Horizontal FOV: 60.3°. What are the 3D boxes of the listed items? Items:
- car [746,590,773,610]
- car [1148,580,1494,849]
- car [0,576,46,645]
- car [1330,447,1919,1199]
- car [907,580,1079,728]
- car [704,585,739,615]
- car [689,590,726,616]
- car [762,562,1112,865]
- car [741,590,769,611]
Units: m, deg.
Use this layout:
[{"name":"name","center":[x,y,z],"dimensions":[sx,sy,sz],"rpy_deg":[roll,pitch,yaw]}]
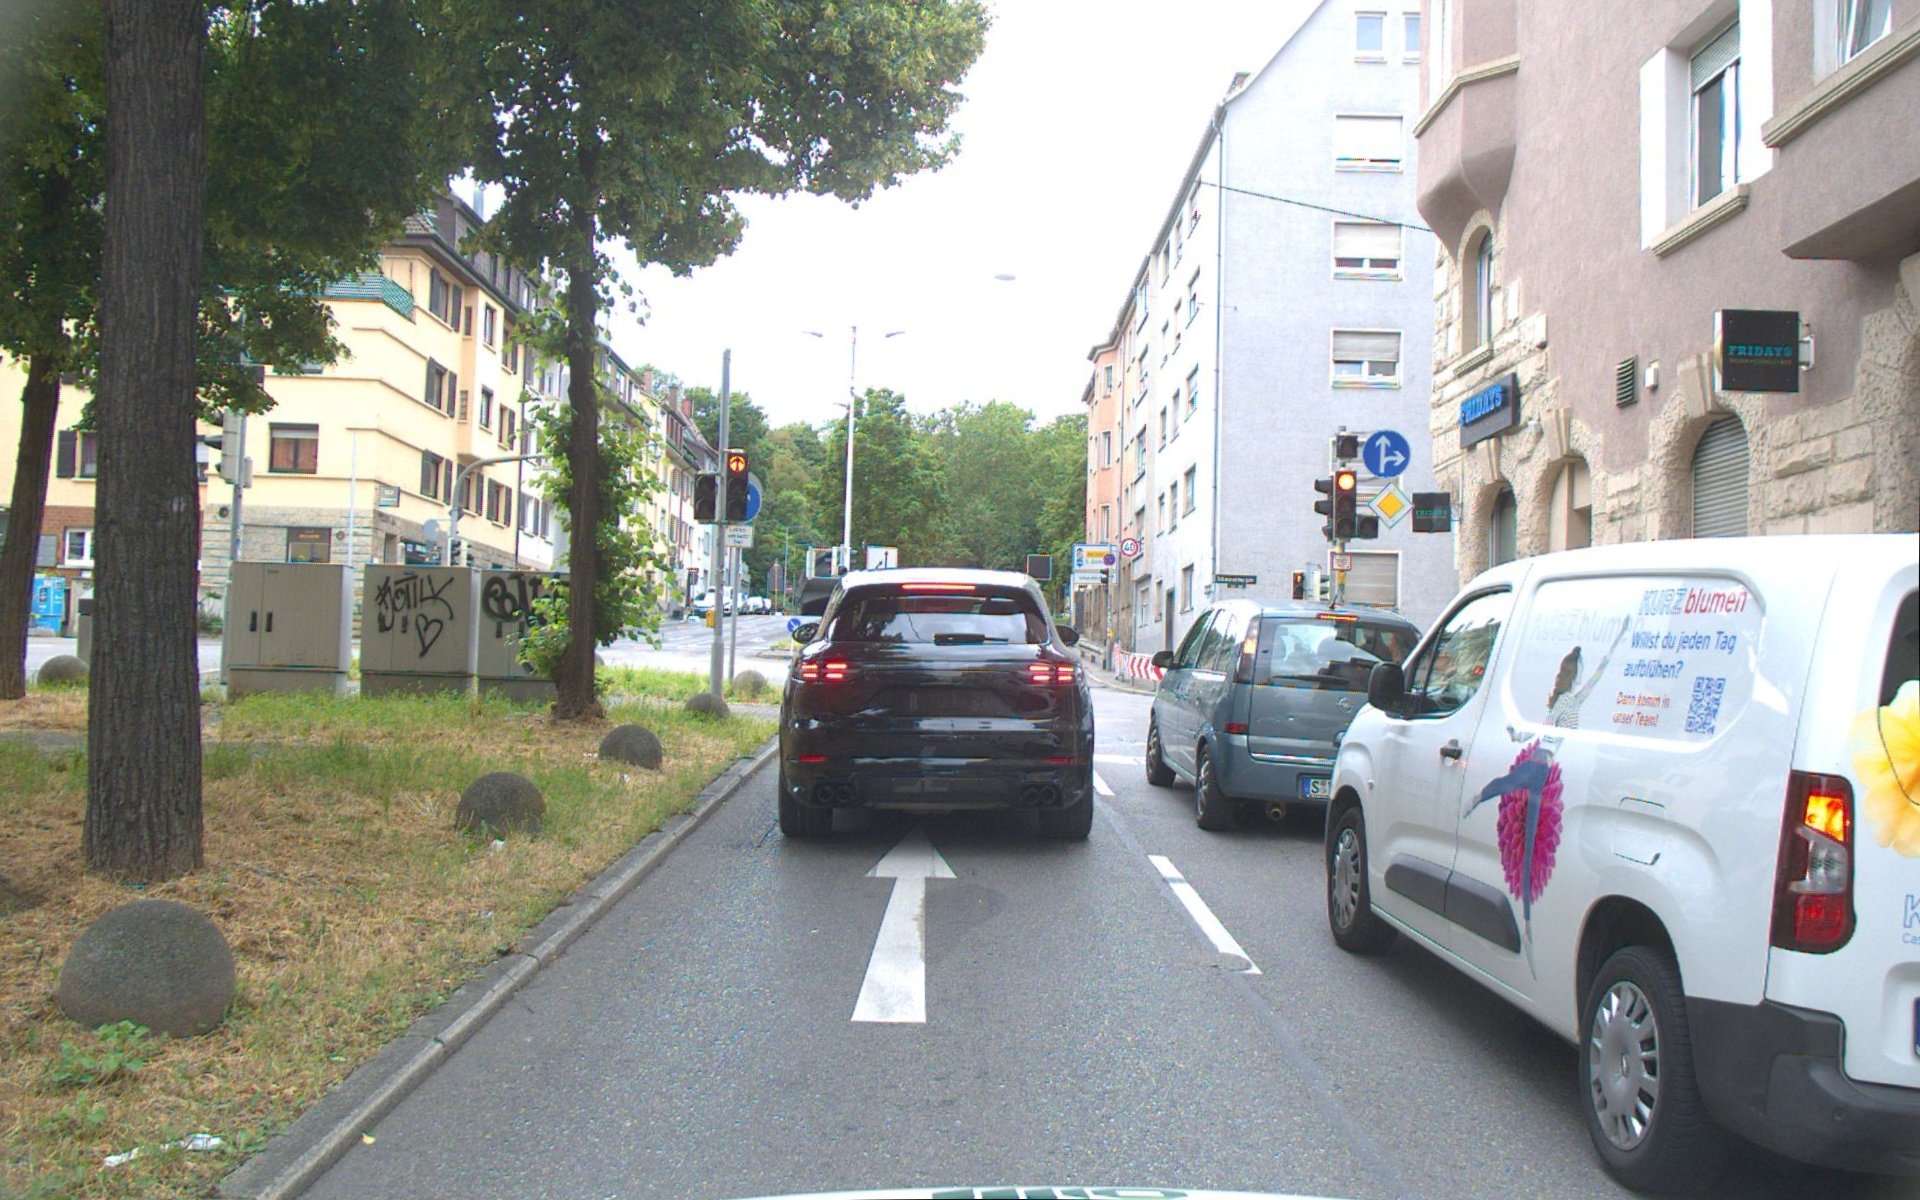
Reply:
[{"name":"car","center":[-16.246,-0.037,134.143],"dimensions":[1.758,1.536,3.999],"rpy_deg":[2,0,-2]},{"name":"car","center":[2.547,0.751,12.527],"dimensions":[1.717,1.621,3.630],"rpy_deg":[4,0,0]},{"name":"car","center":[-25.345,0.243,42.228],"dimensions":[3.916,1.694,1.877],"rpy_deg":[0,-2,33]},{"name":"car","center":[2.721,0.691,6.133],"dimensions":[1.811,1.857,5.022],"rpy_deg":[2,-1,4]},{"name":"car","center":[0.402,0.642,21.055],"dimensions":[1.953,1.682,4.000],"rpy_deg":[1,-1,1]},{"name":"car","center":[-15.532,-0.028,107.873],"dimensions":[1.758,1.841,3.999],"rpy_deg":[2,0,-2]},{"name":"car","center":[-15.681,0.162,102.845],"dimensions":[1.758,1.536,3.999],"rpy_deg":[2,0,-2]},{"name":"car","center":[-0.108,0.620,11.320],"dimensions":[1.953,1.681,4.000],"rpy_deg":[1,1,1]},{"name":"car","center":[-15.989,0.016,129.249],"dimensions":[1.758,1.536,3.999],"rpy_deg":[2,0,-2]}]
